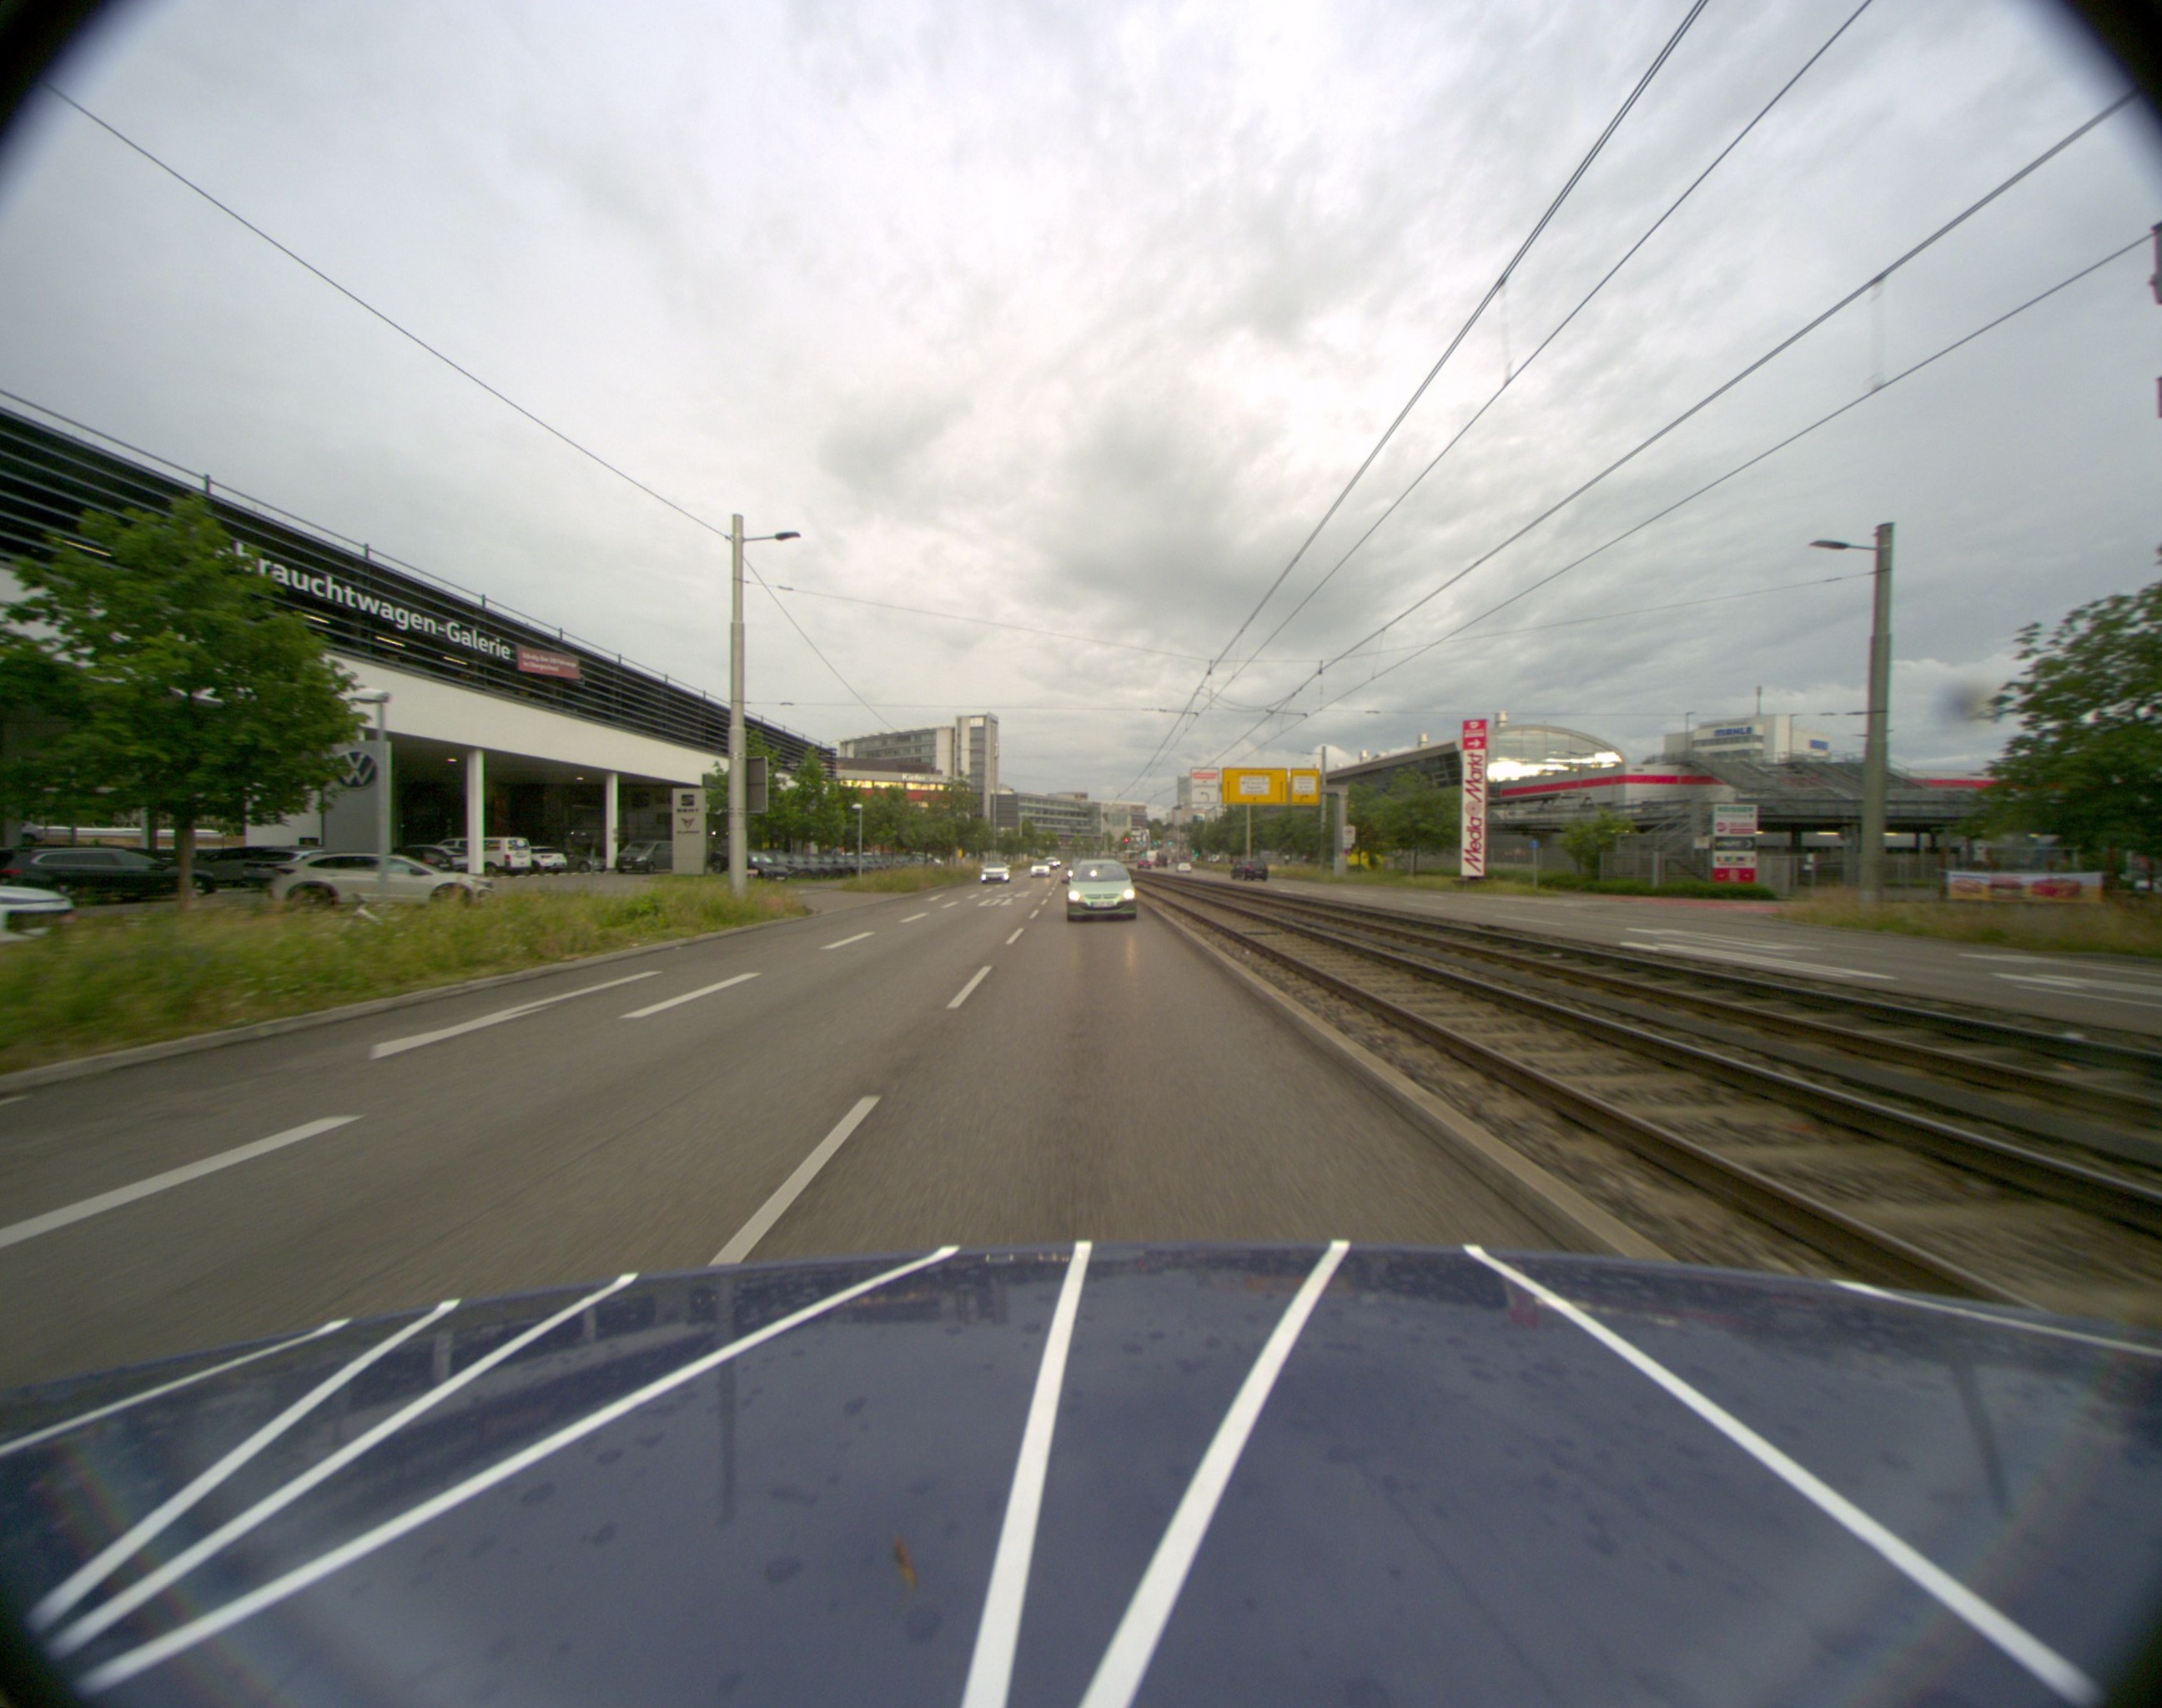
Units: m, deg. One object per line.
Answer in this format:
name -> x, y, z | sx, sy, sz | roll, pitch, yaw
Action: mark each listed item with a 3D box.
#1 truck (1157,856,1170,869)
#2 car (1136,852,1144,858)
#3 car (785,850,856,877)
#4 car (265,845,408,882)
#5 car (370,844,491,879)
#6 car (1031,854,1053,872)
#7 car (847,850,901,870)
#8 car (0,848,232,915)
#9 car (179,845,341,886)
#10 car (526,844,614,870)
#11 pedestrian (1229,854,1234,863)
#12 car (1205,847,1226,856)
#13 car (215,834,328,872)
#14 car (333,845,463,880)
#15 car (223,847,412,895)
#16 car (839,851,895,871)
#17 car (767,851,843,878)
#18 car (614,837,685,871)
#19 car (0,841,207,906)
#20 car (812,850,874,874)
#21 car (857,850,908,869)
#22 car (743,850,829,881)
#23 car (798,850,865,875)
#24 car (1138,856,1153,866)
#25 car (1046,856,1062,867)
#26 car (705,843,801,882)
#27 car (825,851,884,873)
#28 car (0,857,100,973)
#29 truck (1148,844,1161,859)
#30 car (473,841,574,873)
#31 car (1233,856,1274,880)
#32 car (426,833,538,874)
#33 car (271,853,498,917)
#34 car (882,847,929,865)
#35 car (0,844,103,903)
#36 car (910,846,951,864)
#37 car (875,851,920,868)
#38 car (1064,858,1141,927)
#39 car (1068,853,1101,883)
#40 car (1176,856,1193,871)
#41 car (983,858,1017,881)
truck -> 16.148, 1.625, 148.843 | 2.243, 2.550, 7.016 | 0, 0, 4
car -> 15.472, 0.160, 199.151 | 1.810, 1.490, 4.441 | 3, 0, 1
car -> -16.873, 0.631, 49.244 | 4.158, 1.595, 1.822 | 2, 0, -25
car -> -30.064, 0.385, 30.766 | 3.997, 1.416, 1.764 | 1, 1, -1
car -> -30.275, 0.333, 35.449 | 3.997, 1.528, 1.904 | 1, 1, -1
car -> -3.516, 0.829, 69.331 | 1.818, 1.584, 3.836 | 0, 0, 0
car -> -17.222, 0.531, 63.315 | 4.157, 1.525, 1.790 | 2, 0, -20
car -> -25.780, 0.627, 19.939 | 1.784, 1.459, 4.693 | 2, 1, -1
car -> -30.227, 0.403, 28.065 | 3.997, 1.416, 1.764 | 1, 1, -1
car -> -30.462, 0.178, 45.372 | 4.043, 1.504, 1.723 | 1, 1, -3
pedestrian -> 28.027, 0.851, 141.675 | 0.684, 1.554, 0.627 | -2, 1, 0
car -> 35.603, -0.698, 201.144 | 5.068, 2.318, 1.997 | 1, 0, -17
car -> -45.476, -0.091, 42.837 | 1.999, 2.002, 4.097 | 0, 2, -1
car -> -29.566, 0.361, 32.982 | 3.997, 1.437, 1.764 | 1, 1, -1
car -> -26.385, 0.527, 26.538 | 1.899, 1.459, 4.695 | 2, 1, -1
car -> -17.067, 0.583, 60.560 | 4.157, 1.450, 1.790 | 2, 0, -20
car -> -16.847, 0.652, 46.440 | 4.159, 1.553, 1.865 | 2, 0, -27
car -> -25.917, 0.024, 45.841 | 1.892, 1.927, 4.429 | 0, 0, -2
car -> -29.329, 0.550, 22.812 | 3.996, 1.718, 1.891 | -2, 1, 2
car -> -17.228, 0.588, 55.078 | 4.157, 1.560, 1.906 | 2, 0, -21
car -> -17.207, 0.482, 65.770 | 4.061, 1.567, 1.729 | 2, 0, -20
car -> -16.961, 0.668, 43.678 | 4.343, 1.603, 1.865 | 2, 0, -30
car -> -17.091, 0.591, 52.015 | 4.158, 1.560, 1.822 | 2, 0, -25
car -> 9.577, 1.089, 113.015 | 1.807, 1.420, 4.236 | 1, 0, -1
car -> -3.971, 1.057, 110.942 | 1.889, 1.584, 3.983 | 0, 0, 5
car -> -17.193, 0.438, 39.809 | 4.709, 1.865, 1.828 | 2, 0, 23
car -> -17.246, 0.583, 57.846 | 4.157, 1.519, 1.828 | 2, 0, -20
car -> -17.014, 0.843, 10.372 | 4.108, 1.560, 1.794 | 1, 1, -37
truck -> 17.887, -0.562, 184.930 | 2.733, 3.339, 7.150 | 2, 2, 2
car -> -29.803, 0.141, 40.716 | 3.997, 1.623, 1.904 | 1, 1, -1
car -> 13.142, 1.055, 58.142 | 1.999, 1.725, 4.211 | 2, -1, -3
car -> -30.041, -0.006, 38.198 | 4.037, 1.964, 1.944 | 1, 1, -1
car -> -17.828, 0.766, 19.734 | 4.108, 1.457, 1.743 | 1, 1, -33
car -> -17.527, 0.154, 76.083 | 4.502, 1.653, 1.819 | 2, 0, -12
car -> -29.238, 0.561, 20.266 | 3.996, 1.499, 1.786 | -2, 1, 2
car -> -17.725, 0.071, 89.550 | 4.504, 1.980, 1.818 | 2, 0, -19
car -> -17.160, 0.492, 71.215 | 4.058, 1.493, 1.685 | 2, 0, -12
car -> 0.490, 0.920, 19.993 | 1.762, 1.489, 4.137 | -2, 0, -1
car -> 0.238, 0.784, 43.912 | 1.762, 1.535, 3.714 | -2, 0, 1
car -> 12.316, 1.057, 90.287 | 1.602, 1.529, 2.949 | 3, 3, 0
car -> -5.556, 1.067, 52.666 | 1.878, 1.485, 3.836 | 0, 0, 1
